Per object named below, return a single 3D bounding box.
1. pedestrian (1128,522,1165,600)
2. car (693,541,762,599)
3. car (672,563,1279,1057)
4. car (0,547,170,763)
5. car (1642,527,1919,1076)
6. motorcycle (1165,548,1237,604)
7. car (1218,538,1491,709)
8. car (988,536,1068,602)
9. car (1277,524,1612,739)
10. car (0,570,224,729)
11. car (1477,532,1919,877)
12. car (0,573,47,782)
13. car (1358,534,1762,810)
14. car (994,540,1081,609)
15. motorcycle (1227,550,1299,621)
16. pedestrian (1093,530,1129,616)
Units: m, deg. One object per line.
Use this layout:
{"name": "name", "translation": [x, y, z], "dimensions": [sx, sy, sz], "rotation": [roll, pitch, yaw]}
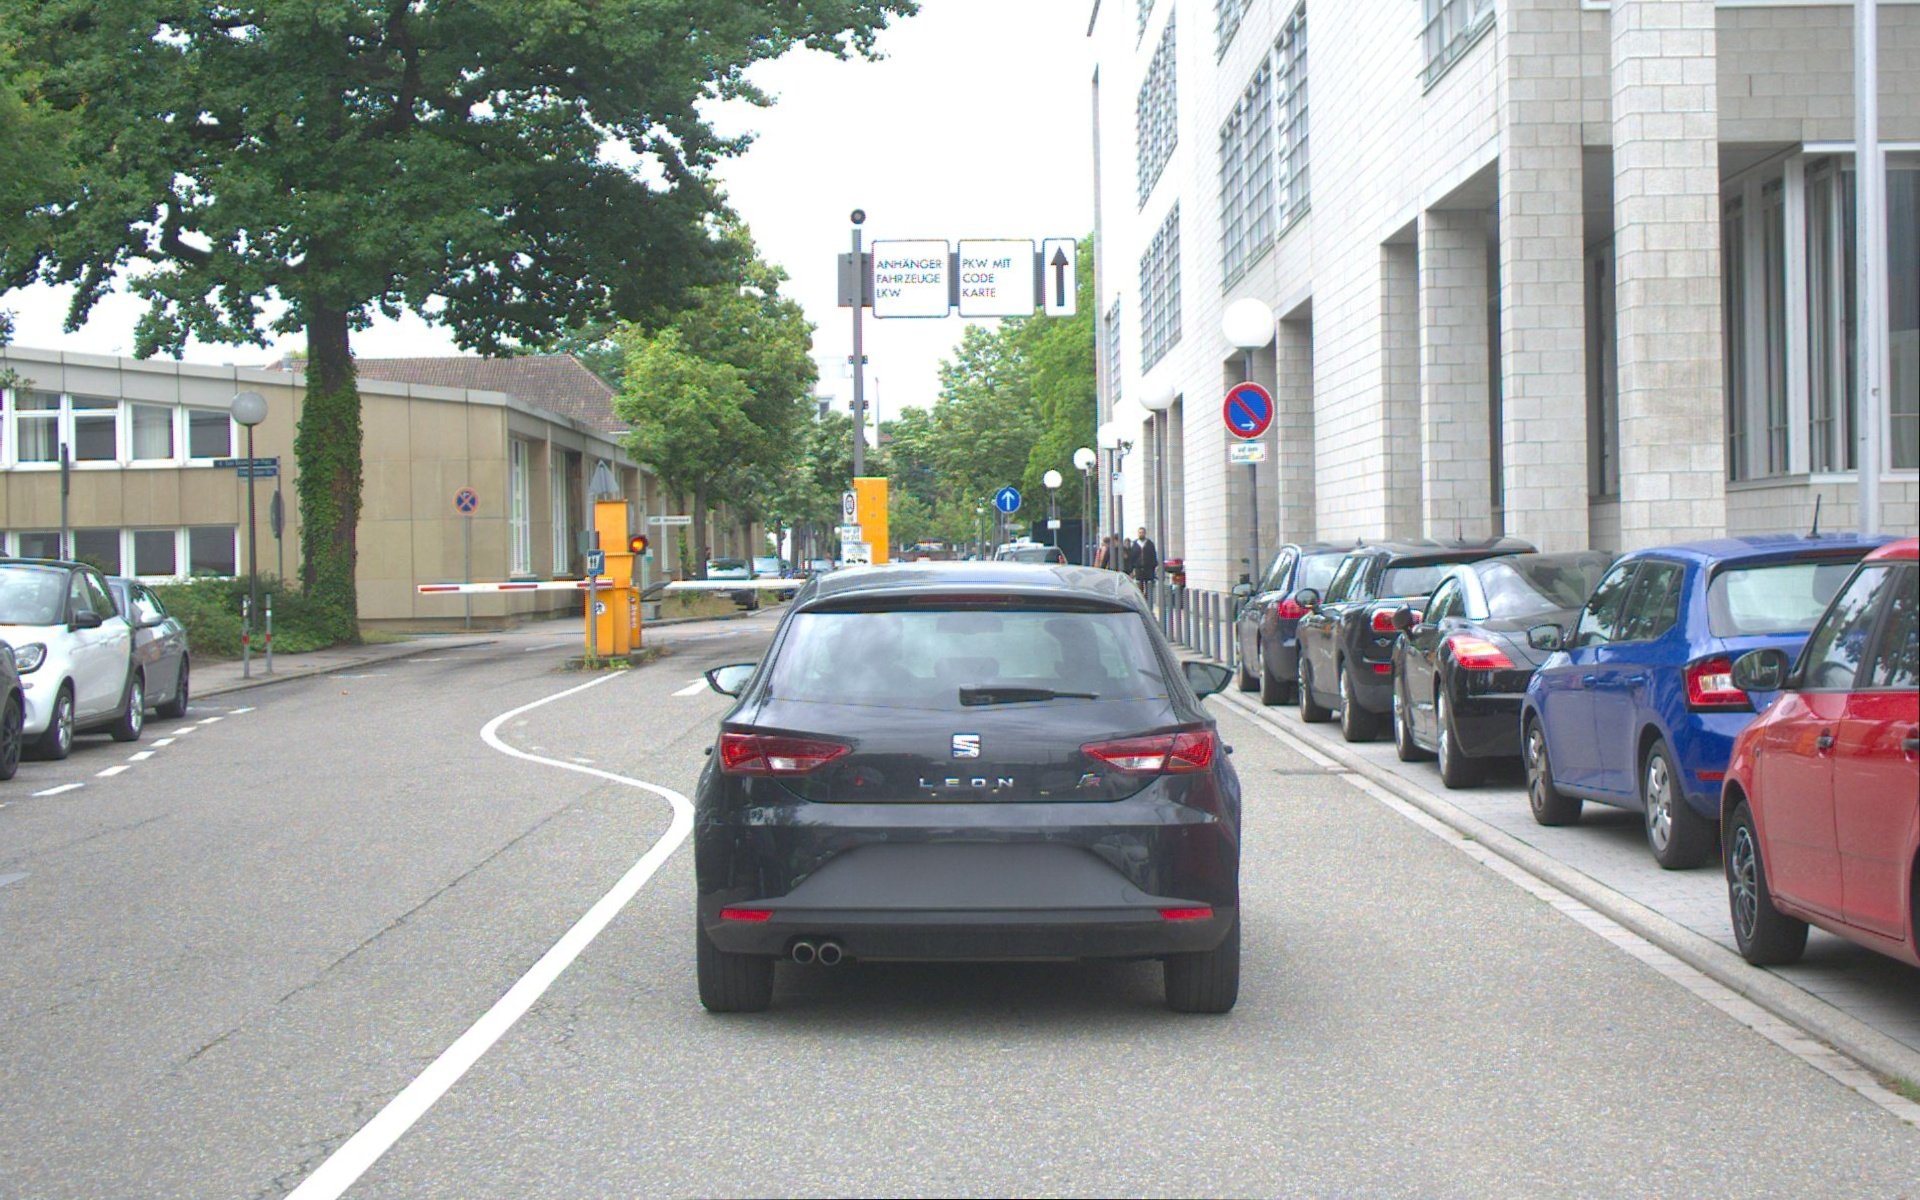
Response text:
{"name": "pedestrian", "translation": [4.125, -0.862, 76.052], "dimensions": [0.727, 1.693, 0.588], "rotation": [0, 3, -5]}
{"name": "car", "translation": [-6.691, -0.879, 99.123], "dimensions": [1.770, 1.595, 4.000], "rotation": [-1, 1, -1]}
{"name": "car", "translation": [0.033, 0.598, 12.240], "dimensions": [1.782, 1.414, 4.130], "rotation": [-1, 1, 0]}
{"name": "car", "translation": [-7.695, 0.395, 27.864], "dimensions": [1.716, 1.580, 3.878], "rotation": [-1, 2, -1]}
{"name": "car", "translation": [3.483, 0.514, 10.904], "dimensions": [1.712, 1.468, 4.274], "rotation": [-3, 1, 0]}
{"name": "motorcycle", "translation": [5.492, -0.565, 78.157], "dimensions": [0.760, 1.144, 2.659], "rotation": [1, 3, 25]}
{"name": "car", "translation": [3.630, 0.182, 32.481], "dimensions": [1.993, 1.447, 4.923], "rotation": [-1, 1, 0]}
{"name": "car", "translation": [1.787, -0.844, 91.583], "dimensions": [1.993, 1.617, 4.428], "rotation": [-3, 1, 0]}
{"name": "car", "translation": [3.646, 0.189, 26.644], "dimensions": [1.817, 1.438, 4.521], "rotation": [-3, 1, -1]}
{"name": "car", "translation": [-8.405, 0.433, 33.282], "dimensions": [1.817, 1.384, 4.195], "rotation": [-1, 1, -2]}
{"name": "car", "translation": [3.803, 0.406, 16.573], "dimensions": [1.695, 1.406, 4.377], "rotation": [-2, 1, -3]}
{"name": "car", "translation": [-7.448, 0.574, 22.843], "dimensions": [1.763, 1.407, 4.009], "rotation": [-1, 1, -1]}
{"name": "car", "translation": [3.666, 0.370, 21.755], "dimensions": [1.848, 1.437, 4.419], "rotation": [-1, 2, 1]}
{"name": "car", "translation": [1.928, -0.634, 87.055], "dimensions": [1.993, 1.617, 4.428], "rotation": [-2, 0, -1]}
{"name": "motorcycle", "translation": [5.436, -0.272, 61.569], "dimensions": [0.566, 1.144, 2.214], "rotation": [1, 3, 25]}
{"name": "pedestrian", "translation": [2.995, -0.540, 68.292], "dimensions": [0.696, 1.708, 0.489], "rotation": [-1, 1, 3]}
